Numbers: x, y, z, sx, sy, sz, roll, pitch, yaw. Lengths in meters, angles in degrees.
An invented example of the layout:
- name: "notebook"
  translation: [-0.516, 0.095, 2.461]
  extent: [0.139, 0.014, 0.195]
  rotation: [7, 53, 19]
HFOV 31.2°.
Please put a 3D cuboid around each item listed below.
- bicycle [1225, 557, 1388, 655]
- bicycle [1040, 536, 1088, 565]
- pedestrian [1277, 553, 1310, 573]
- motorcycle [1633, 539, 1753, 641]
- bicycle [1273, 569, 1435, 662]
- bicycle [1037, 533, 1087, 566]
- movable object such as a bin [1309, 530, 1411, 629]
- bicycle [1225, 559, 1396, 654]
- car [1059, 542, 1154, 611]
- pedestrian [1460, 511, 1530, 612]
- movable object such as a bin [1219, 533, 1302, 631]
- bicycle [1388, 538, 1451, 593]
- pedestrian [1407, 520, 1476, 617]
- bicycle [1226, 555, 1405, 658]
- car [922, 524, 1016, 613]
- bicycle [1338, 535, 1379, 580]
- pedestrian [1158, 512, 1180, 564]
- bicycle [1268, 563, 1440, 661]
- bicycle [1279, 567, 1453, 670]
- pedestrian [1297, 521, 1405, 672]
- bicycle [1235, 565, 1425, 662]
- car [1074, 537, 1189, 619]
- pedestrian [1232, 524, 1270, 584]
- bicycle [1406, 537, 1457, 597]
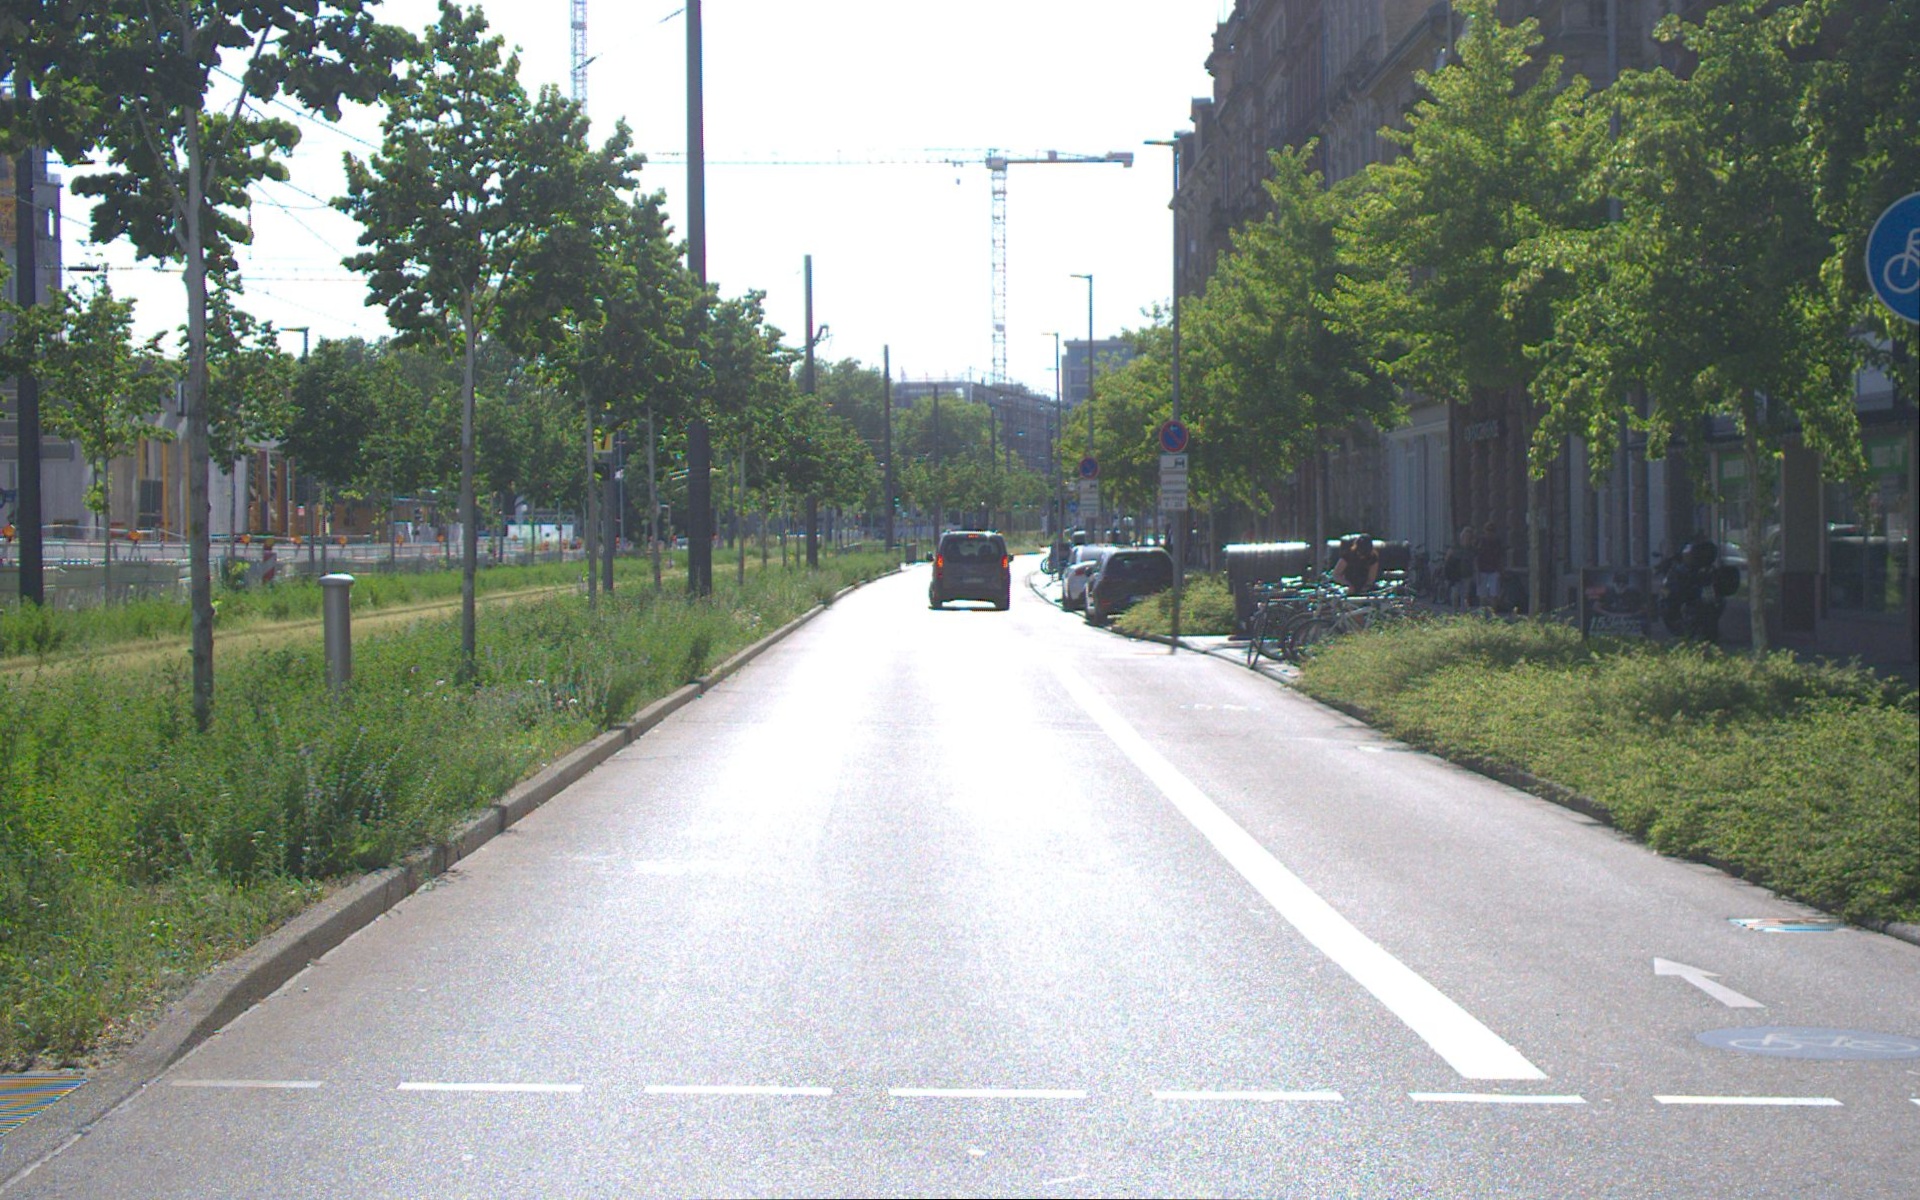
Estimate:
- name: "bicycle"
  translation: [4.478, 0.078, 44.445]
  extent: [1.974, 1.120, 0.482]
  rotation: [-4, 2, -5]
- name: "bicycle"
  translation: [4.207, -1.987, 139.167]
  extent: [1.824, 1.075, 0.665]
  rotation: [-3, 1, -6]
- name: "pedestrian"
  translation: [9.779, -1.080, 100.855]
  extent: [0.773, 0.551, 2.008]
  rotation: [-1, 2, 0]
- name: "motorcycle"
  translation: [9.440, -0.145, 44.379]
  extent: [0.866, 1.262, 2.982]
  rotation: [1, 1, -1]
- name: "bicycle"
  translation: [4.706, 0.179, 41.100]
  extent: [1.814, 1.052, 0.572]
  rotation: [-2, 1, -6]
- name: "bicycle"
  translation: [4.081, -2.035, 137.632]
  extent: [1.878, 1.229, 0.500]
  rotation: [-3, 1, -5]
- name: "movable object such as a bin"
  translation: [6.370, -0.334, 54.861]
  extent: [1.373, 1.490, 1.749]
  rotation: [-3, 0, 1]
- name: "bicycle"
  translation: [4.487, 0.080, 44.037]
  extent: [2.043, 1.103, 0.611]
  rotation: [-3, 1, -6]
- name: "car"
  translation: [3.380, -0.575, 80.275]
  extent: [1.951, 1.490, 5.105]
  rotation: [-2, 1, 0]
- name: "pedestrian"
  translation: [8.864, -0.642, 56.995]
  extent: [0.971, 1.633, 0.992]
  rotation: [-1, 2, 0]
- name: "movable object such as a bin"
  translation: [4.774, -0.298, 54.688]
  extent: [1.271, 1.458, 1.644]
  rotation: [1, 3, 4]
- name: "bicycle"
  translation: [9.734, -0.734, 72.894]
  extent: [0.875, 1.101, 2.182]
  rotation: [-3, 1, -3]
- name: "pedestrian"
  translation: [7.982, -0.527, 57.033]
  extent: [0.950, 1.561, 1.080]
  rotation: [-1, 2, -1]
- name: "bicycle"
  translation: [4.445, 0.074, 42.952]
  extent: [2.146, 1.150, 0.429]
  rotation: [-4, 1, -13]
- name: "car"
  translation: [0.174, -0.739, 80.907]
  extent: [1.993, 2.007, 4.000]
  rotation: [1, 1, -3]
- name: "bicycle"
  translation: [9.734, -1.046, 84.026]
  extent: [0.721, 1.086, 2.198]
  rotation: [-1, 1, 0]
- name: "pedestrian"
  translation: [8.329, -2.467, 137.047]
  extent: [0.817, 2.007, 1.046]
  rotation: [1, -1, 0]
- name: "bicycle"
  translation: [4.747, 0.143, 41.444]
  extent: [1.977, 1.104, 0.435]
  rotation: [-2, 1, -3]
- name: "bicycle"
  translation: [4.675, 0.209, 39.628]
  extent: [1.891, 1.105, 0.518]
  rotation: [-2, 1, -5]
- name: "pedestrian"
  translation: [4.698, -0.039, 41.269]
  extent: [0.848, 1.730, 0.901]
  rotation: [-3, 1, 37]
- name: "bicycle"
  translation: [4.588, 0.157, 42.609]
  extent: [2.284, 1.098, 0.486]
  rotation: [-2, 1, -14]
- name: "car"
  translation: [3.338, -0.432, 67.568]
  extent: [1.765, 1.472, 4.449]
  rotation: [-3, 1, -3]
- name: "pedestrian"
  translation: [8.472, -1.338, 100.067]
  extent: [0.996, 1.725, 0.866]
  rotation: [1, 0, 0]
- name: "bicycle"
  translation: [9.577, -0.671, 69.829]
  extent: [0.748, 1.197, 1.801]
  rotation: [-1, 1, 0]
